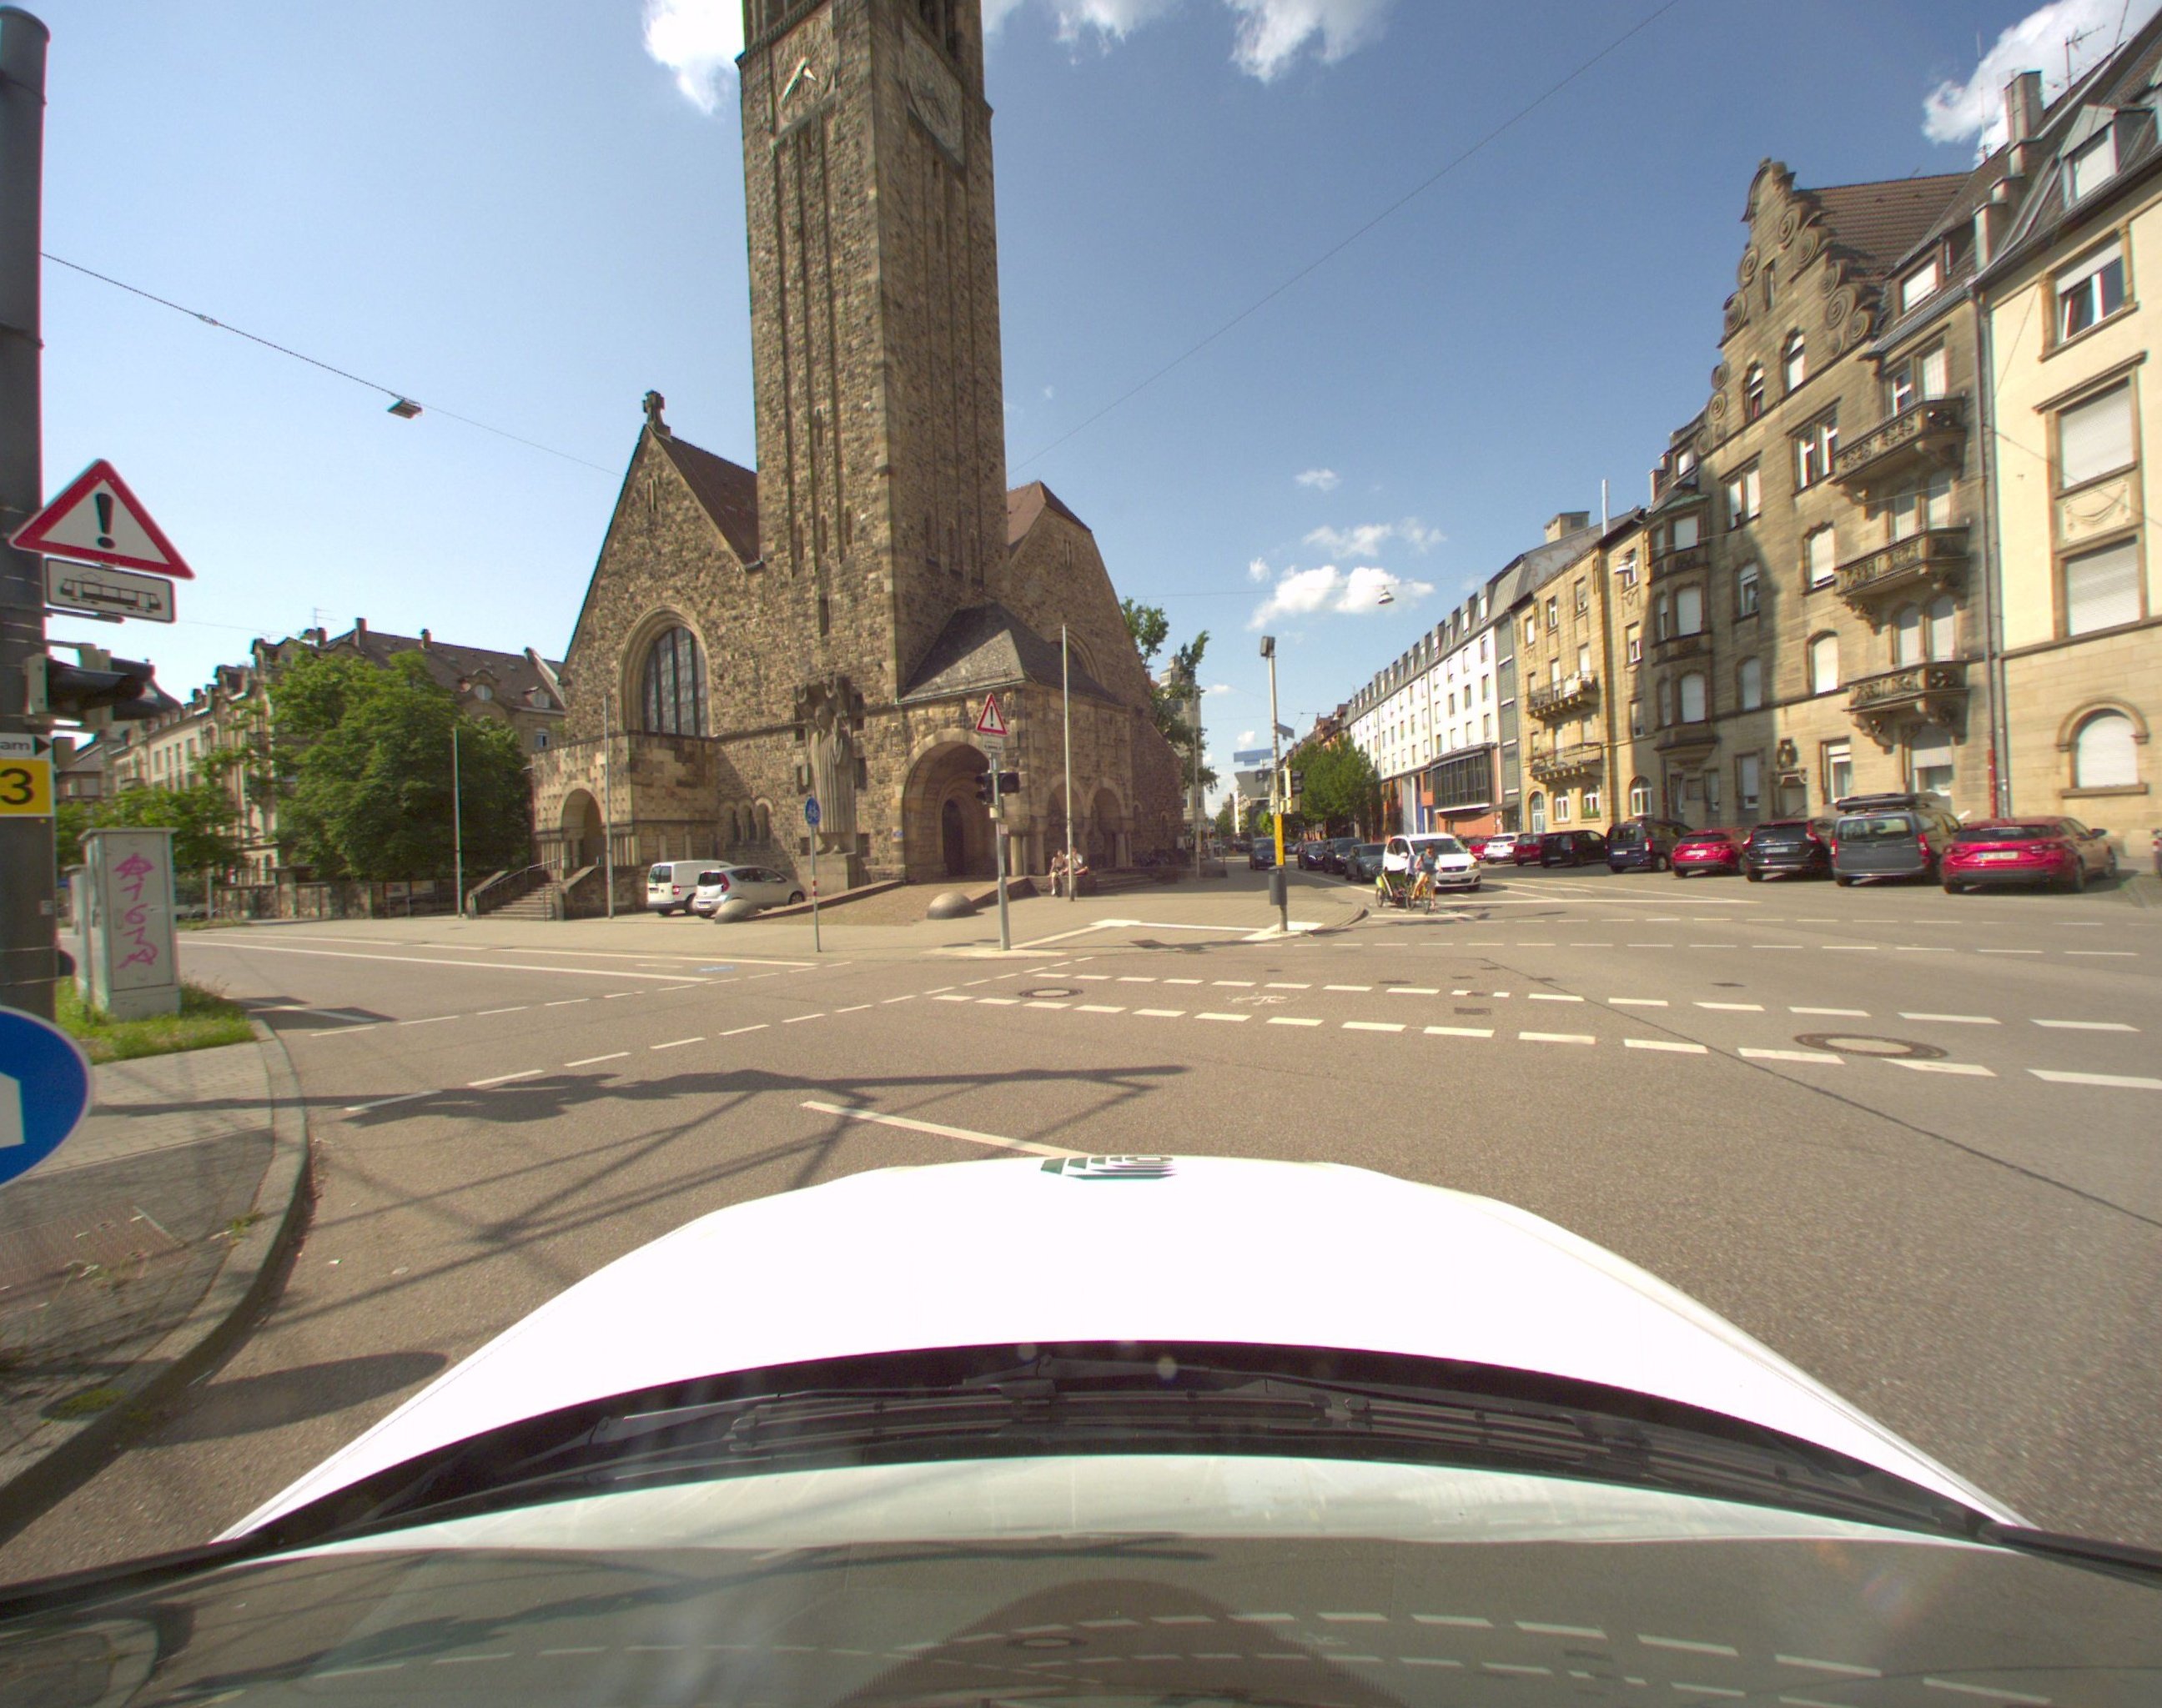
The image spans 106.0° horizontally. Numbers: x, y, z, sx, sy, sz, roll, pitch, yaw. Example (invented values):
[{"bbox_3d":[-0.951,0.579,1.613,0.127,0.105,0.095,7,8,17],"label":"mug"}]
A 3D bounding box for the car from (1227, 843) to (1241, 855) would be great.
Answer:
[{"bbox_3d":[26.073,-0.883,138.893,1.983,1.815,4.008,-3,0,7],"label":"car"}]

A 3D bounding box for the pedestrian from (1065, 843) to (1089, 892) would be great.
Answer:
[{"bbox_3d":[-0.131,0.413,25.116,0.558,1.406,0.515,-5,7,-15],"label":"pedestrian"}]

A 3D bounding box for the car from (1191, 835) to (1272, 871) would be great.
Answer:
[{"bbox_3d":[7.592,-0.025,41.527,2.037,1.652,3.937,-3,0,-27],"label":"car"}]

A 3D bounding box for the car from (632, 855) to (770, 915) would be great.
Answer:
[{"bbox_3d":[-13.288,1.036,28.732,1.840,1.823,4.040,-2,1,29],"label":"car"}]

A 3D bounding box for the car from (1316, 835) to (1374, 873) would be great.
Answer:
[{"bbox_3d":[12.242,-0.028,37.964,1.689,1.596,4.079,-3,0,6],"label":"car"}]

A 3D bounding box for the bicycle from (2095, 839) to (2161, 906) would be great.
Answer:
[{"bbox_3d":[17.417,0.285,12.705,0.538,1.018,1.922,-5,0,-10],"label":"bicycle"}]

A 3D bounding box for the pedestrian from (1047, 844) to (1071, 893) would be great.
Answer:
[{"bbox_3d":[-0.677,0.447,24.963,0.558,1.406,0.515,-5,7,-15],"label":"pedestrian"}]

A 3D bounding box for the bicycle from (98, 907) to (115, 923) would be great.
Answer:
[{"bbox_3d":[-71.063,4.453,59.388,1.997,1.139,0.431,-3,3,31],"label":"bicycle"}]

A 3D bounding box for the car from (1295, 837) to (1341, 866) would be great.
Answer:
[{"bbox_3d":[12.720,-0.160,43.892,1.689,1.390,3.868,-3,0,6],"label":"car"}]

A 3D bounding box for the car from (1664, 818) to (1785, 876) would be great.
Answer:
[{"bbox_3d":[20.522,-0.229,25.929,4.018,1.444,1.895,-6,0,-36],"label":"car"}]

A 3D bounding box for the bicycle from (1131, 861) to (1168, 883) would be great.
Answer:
[{"bbox_3d":[2.551,0.677,30.455,1.349,0.741,0.341,-2,0,29],"label":"bicycle"}]

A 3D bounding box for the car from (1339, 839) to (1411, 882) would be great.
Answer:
[{"bbox_3d":[11.063,0.194,30.856,1.661,1.450,3.742,-3,0,6],"label":"car"}]

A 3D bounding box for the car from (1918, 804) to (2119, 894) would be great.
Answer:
[{"bbox_3d":[19.186,-0.122,16.647,4.013,1.441,1.949,-5,0,-31],"label":"car"}]

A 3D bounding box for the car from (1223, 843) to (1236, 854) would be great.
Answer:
[{"bbox_3d":[27.127,-0.991,149.009,1.983,1.815,4.008,-3,0,7],"label":"car"}]

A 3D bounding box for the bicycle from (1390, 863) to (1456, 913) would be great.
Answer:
[{"bbox_3d":[7.752,0.738,18.567,0.647,0.989,2.136,-3,0,2],"label":"bicycle"}]

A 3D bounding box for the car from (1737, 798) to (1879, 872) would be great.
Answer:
[{"bbox_3d":[20.027,-0.538,22.396,4.013,1.668,1.694,-5,0,-31],"label":"car"}]

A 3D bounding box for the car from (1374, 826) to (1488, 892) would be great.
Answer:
[{"bbox_3d":[10.449,0.114,24.726,1.800,1.740,4.671,-3,0,6],"label":"car"}]

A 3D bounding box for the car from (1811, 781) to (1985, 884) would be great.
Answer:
[{"bbox_3d":[19.814,-0.535,19.730,4.014,2.082,1.949,-6,1,-31],"label":"car"}]

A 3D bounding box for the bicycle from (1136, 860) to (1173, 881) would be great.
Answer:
[{"bbox_3d":[2.774,0.640,30.833,1.349,0.741,0.341,-2,0,29],"label":"bicycle"}]

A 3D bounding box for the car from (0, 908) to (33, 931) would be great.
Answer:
[{"bbox_3d":[-82.593,5.028,62.515,4.432,1.526,1.816,-3,2,28],"label":"car"}]

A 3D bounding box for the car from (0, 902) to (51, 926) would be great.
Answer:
[{"bbox_3d":[-74.239,4.224,57.273,4.647,1.502,1.702,-2,0,32],"label":"car"}]

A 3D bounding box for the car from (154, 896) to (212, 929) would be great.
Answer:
[{"bbox_3d":[-43.333,2.795,39.282,3.794,1.416,1.684,-2,-1,40],"label":"car"}]

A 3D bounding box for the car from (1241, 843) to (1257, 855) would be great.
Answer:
[{"bbox_3d":[23.065,-0.729,111.978,1.774,1.552,4.008,-3,0,7],"label":"car"}]

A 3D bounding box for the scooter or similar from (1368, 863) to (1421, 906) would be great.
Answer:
[{"bbox_3d":[7.759,0.748,20.213,0.884,0.977,1.132,-3,0,2],"label":"scooter or similar"}]

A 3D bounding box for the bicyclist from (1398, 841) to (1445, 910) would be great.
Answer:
[{"bbox_3d":[7.748,0.476,18.563,0.647,1.503,0.922,-3,0,2],"label":"bicyclist"}]

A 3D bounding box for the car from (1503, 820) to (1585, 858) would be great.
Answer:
[{"bbox_3d":[21.742,-0.711,38.226,3.788,1.455,1.590,-5,0,-31],"label":"car"}]

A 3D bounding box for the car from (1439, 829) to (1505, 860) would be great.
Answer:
[{"bbox_3d":[22.463,-0.554,46.791,3.585,1.396,1.590,-5,0,-31],"label":"car"}]

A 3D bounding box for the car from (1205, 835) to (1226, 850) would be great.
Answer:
[{"bbox_3d":[12.859,-1.134,77.707,1.627,1.325,3.757,-3,1,13],"label":"car"}]

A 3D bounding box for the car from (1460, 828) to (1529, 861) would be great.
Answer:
[{"bbox_3d":[22.442,-0.523,44.143,3.585,1.396,1.590,-5,0,-31],"label":"car"}]

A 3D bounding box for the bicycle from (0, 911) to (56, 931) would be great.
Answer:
[{"bbox_3d":[-79.401,5.012,61.068,0.784,1.246,2.971,-3,0,19],"label":"bicycle"}]

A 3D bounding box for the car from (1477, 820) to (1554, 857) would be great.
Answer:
[{"bbox_3d":[21.949,-0.799,41.104,3.788,1.500,1.590,-5,0,-31],"label":"car"}]

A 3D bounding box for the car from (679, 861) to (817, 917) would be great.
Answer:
[{"bbox_3d":[-10.762,1.086,26.546,1.775,1.547,3.803,-2,1,30],"label":"car"}]

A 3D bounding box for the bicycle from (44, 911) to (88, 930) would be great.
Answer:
[{"bbox_3d":[-66.223,4.361,53.156,0.465,1.069,1.721,-3,0,26],"label":"bicycle"}]

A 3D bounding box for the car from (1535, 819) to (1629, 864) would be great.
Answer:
[{"bbox_3d":[21.592,-0.554,35.090,4.013,1.546,1.694,-5,0,-31],"label":"car"}]

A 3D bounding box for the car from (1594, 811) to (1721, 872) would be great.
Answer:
[{"bbox_3d":[20.849,-0.460,29.446,4.007,1.824,1.901,-5,0,-25],"label":"car"}]

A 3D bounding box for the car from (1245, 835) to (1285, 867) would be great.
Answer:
[{"bbox_3d":[10.611,-0.213,47.193,1.800,1.664,4.081,-3,1,7],"label":"car"}]
